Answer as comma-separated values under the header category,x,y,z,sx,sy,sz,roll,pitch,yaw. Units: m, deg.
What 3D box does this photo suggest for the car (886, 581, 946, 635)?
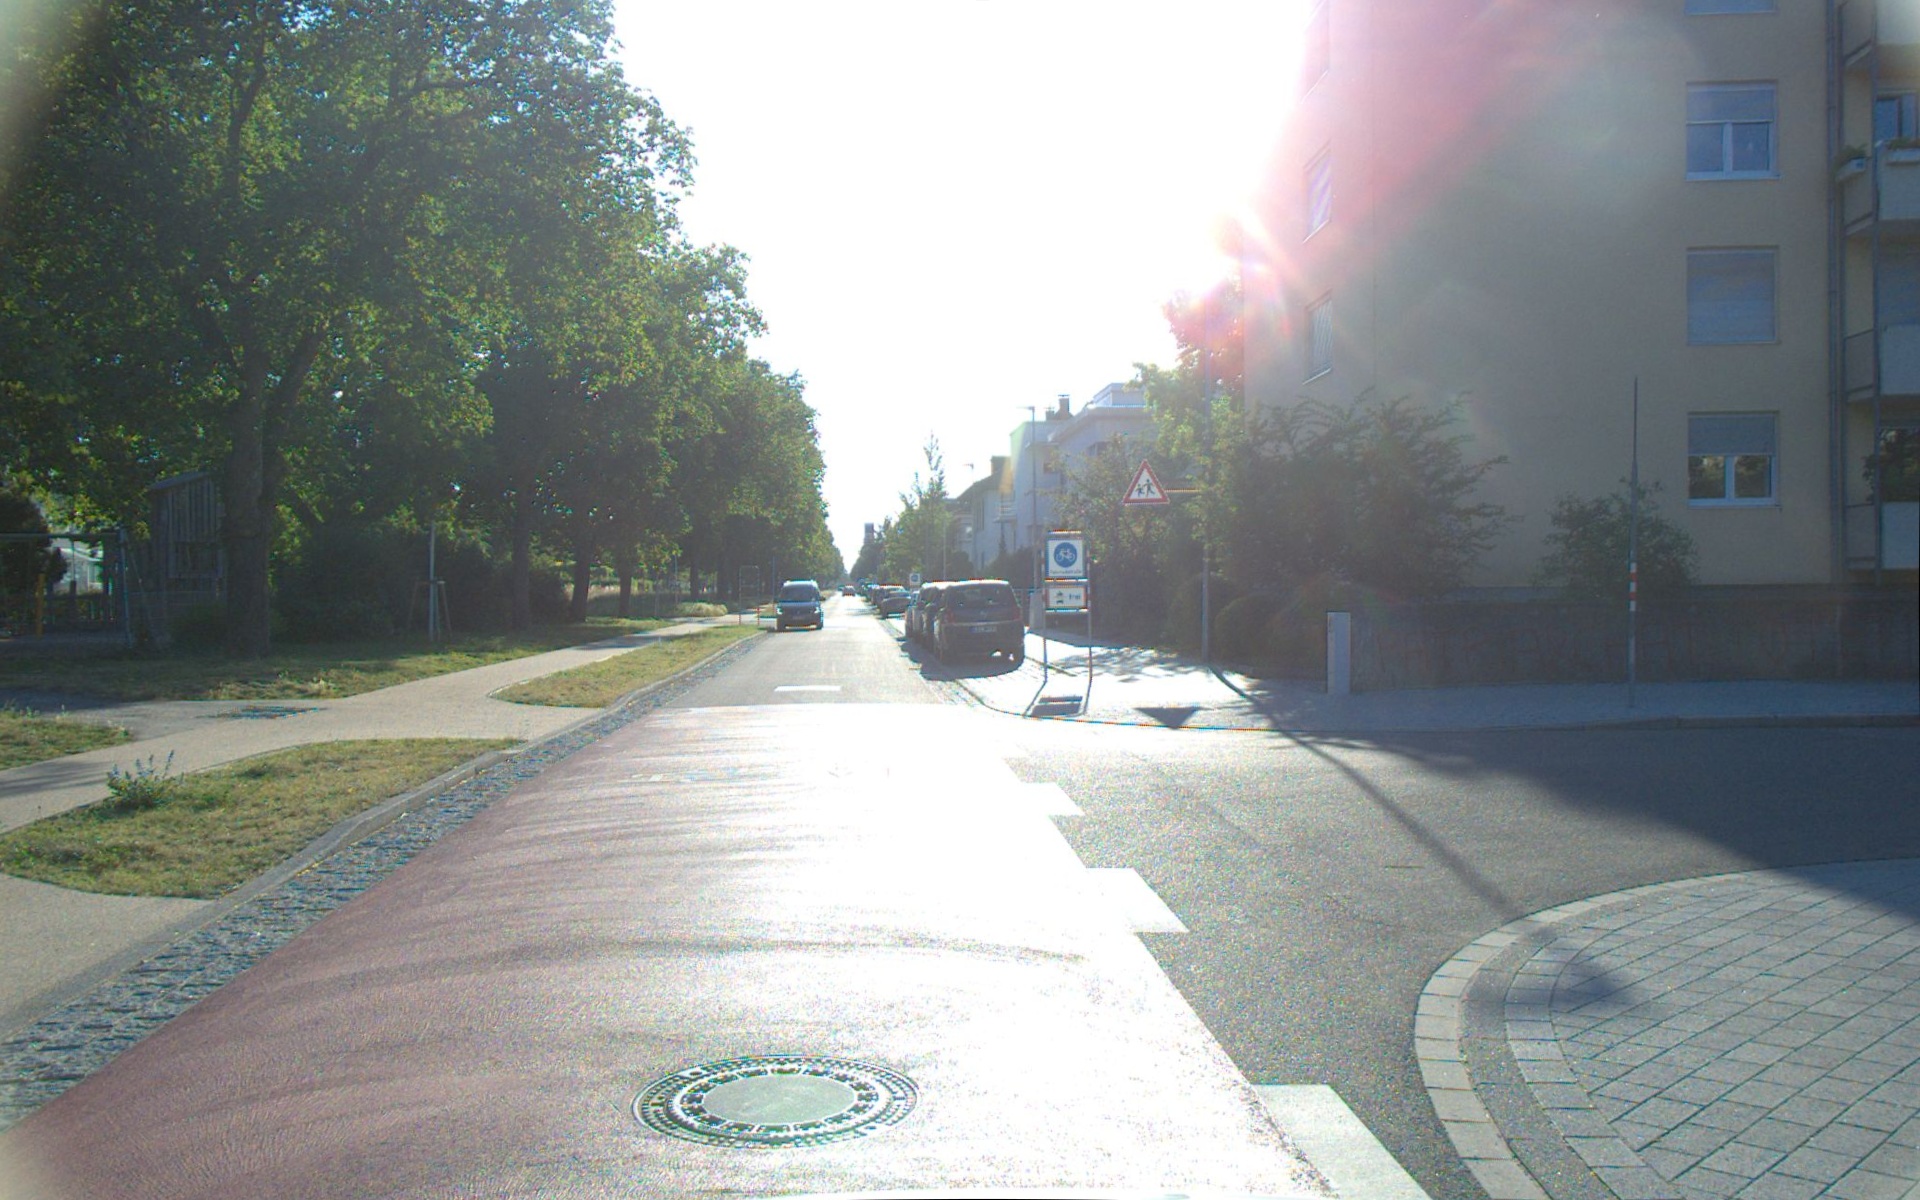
category,x,y,z,sx,sy,sz,roll,pitch,yaw
car,-1.497,0.257,56.709,1.953,1.747,3.999,-1,0,-1

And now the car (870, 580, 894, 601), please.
category,x,y,z,sx,sy,sz,roll,pitch,yaw
car,-5.673,-0.686,119.485,1.594,1.434,4.246,-1,0,-4

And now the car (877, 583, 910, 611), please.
category,x,y,z,sx,sy,sz,roll,pitch,yaw
car,-3.545,-0.181,87.913,1.594,1.434,4.246,-1,0,-4

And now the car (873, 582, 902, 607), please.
category,x,y,z,sx,sy,sz,roll,pitch,yaw
car,-4.385,-0.320,99.544,1.594,1.434,4.246,-1,0,-4

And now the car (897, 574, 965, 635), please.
category,x,y,z,sx,sy,sz,roll,pitch,yaw
car,-0.895,0.123,50.442,1.953,1.747,3.999,-1,0,-1

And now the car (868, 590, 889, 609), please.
category,x,y,z,sx,sy,sz,roll,pitch,yaw
car,-6.688,-0.056,135.689,1.594,1.434,4.246,-1,0,-4

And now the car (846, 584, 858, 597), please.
category,x,y,z,sx,sy,sz,roll,pitch,yaw
car,-15.481,-1.357,236.499,1.594,1.698,4.246,-1,0,-4

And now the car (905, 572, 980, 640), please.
category,x,y,z,sx,sy,sz,roll,pitch,yaw
car,-0.496,0.149,45.749,1.953,1.747,3.999,-1,0,-1

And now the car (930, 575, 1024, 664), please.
category,x,y,z,sx,sy,sz,roll,pitch,yaw
car,0.294,0.368,34.647,1.594,1.698,4.246,-1,0,-4

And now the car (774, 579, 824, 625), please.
category,x,y,z,sx,sy,sz,roll,pitch,yaw
car,-6.241,0.068,64.438,1.790,1.698,4.246,-1,0,-4

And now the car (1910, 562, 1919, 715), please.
category,x,y,z,sx,sy,sz,roll,pitch,yaw
car,11.827,0.347,15.995,4.109,1.557,2.000,-1,0,0
